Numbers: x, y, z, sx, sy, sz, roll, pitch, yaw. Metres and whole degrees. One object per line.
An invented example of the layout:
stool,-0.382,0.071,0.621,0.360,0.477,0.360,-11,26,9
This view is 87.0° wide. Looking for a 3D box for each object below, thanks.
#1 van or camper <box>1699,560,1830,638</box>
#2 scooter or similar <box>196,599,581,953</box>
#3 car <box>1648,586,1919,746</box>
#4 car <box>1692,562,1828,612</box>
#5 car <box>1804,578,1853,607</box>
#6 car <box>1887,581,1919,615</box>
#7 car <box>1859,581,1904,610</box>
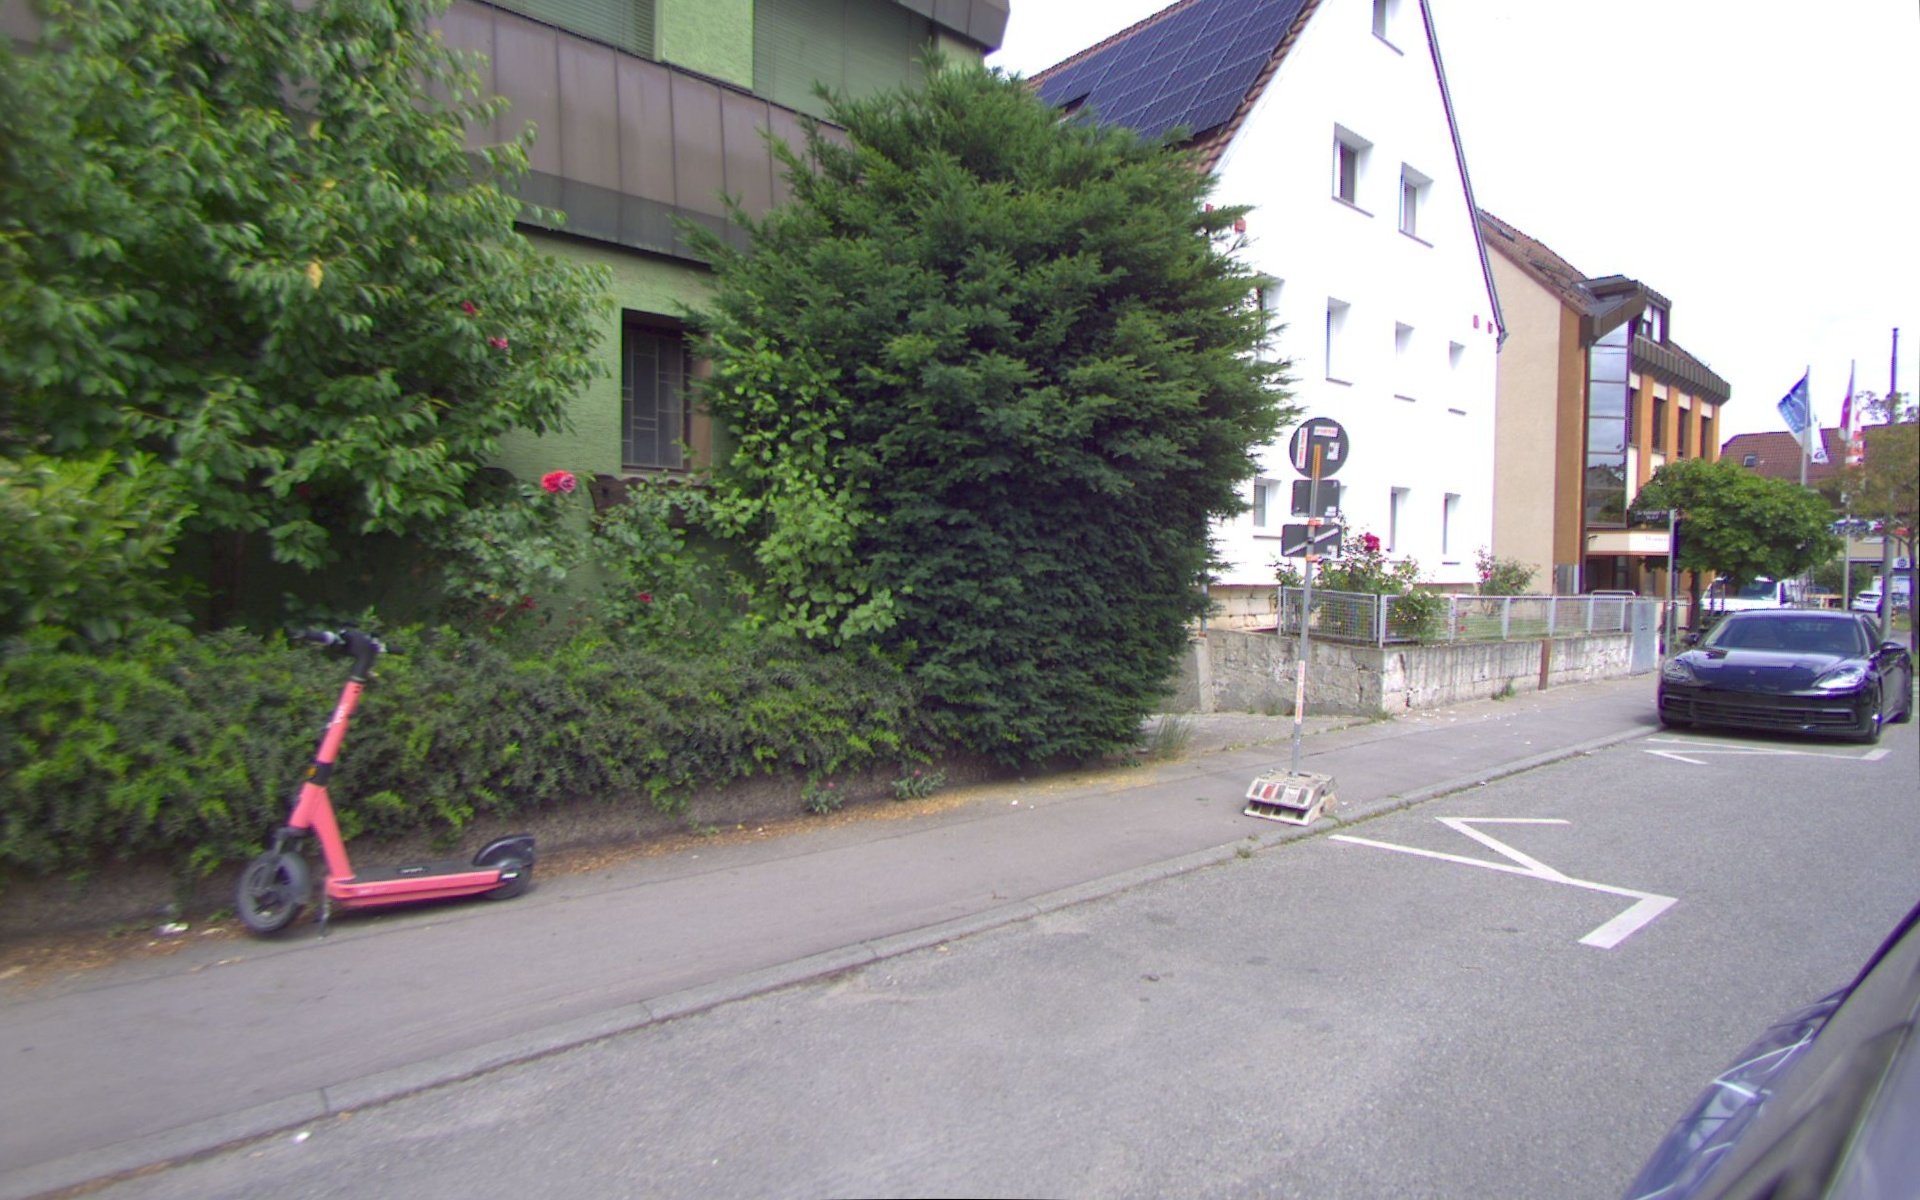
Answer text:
van or camper,22.716,-0.086,28.528,4.464,2.057,1.872,-1,2,-38
scooter or similar,-2.409,0.671,4.370,1.379,1.320,0.301,1,4,-41
car,10.199,0.617,12.213,4.669,1.466,1.988,-1,3,-41
car,32.071,-0.563,40.736,1.603,1.649,4.328,3,4,-6
car,54.887,-0.522,63.908,4.578,1.560,1.716,-2,7,-43
car,51.854,-0.124,54.815,4.083,1.613,1.622,0,8,-38
car,57.343,-0.328,62.952,4.135,1.546,1.637,-2,7,-44
